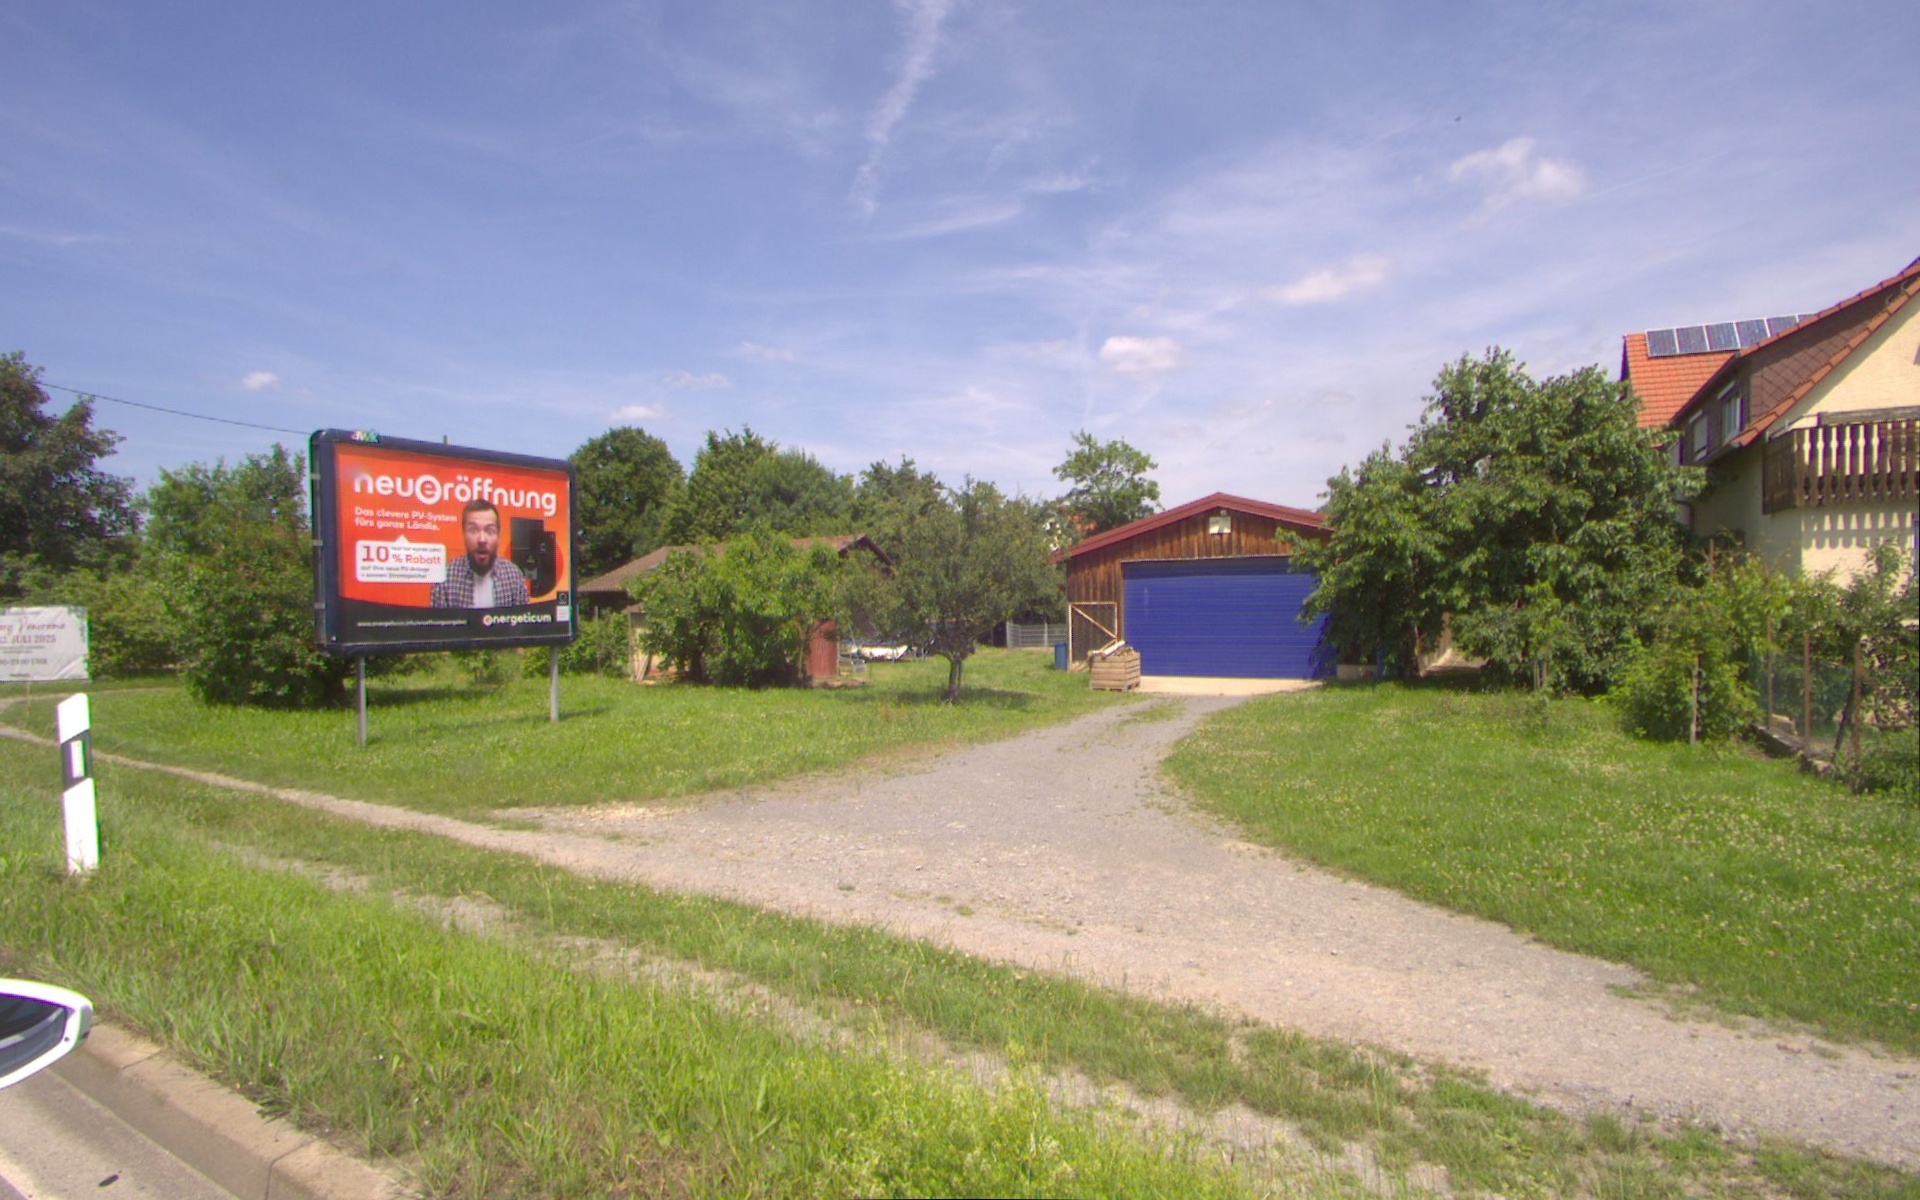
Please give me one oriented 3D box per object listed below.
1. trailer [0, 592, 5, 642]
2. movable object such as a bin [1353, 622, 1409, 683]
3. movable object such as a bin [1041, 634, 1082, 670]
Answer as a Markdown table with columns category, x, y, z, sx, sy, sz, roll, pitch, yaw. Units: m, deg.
| category | x | y | z | sx | sy | sz | roll | pitch | yaw |
| --- | --- | --- | --- | --- | --- | --- | --- | --- | --- |
| trailer | -88.977 | 1.492 | 87.989 | 5.132 | 4.688 | 15.783 | 1 | -1 | -36 |
| movable object such as a bin | 10.229 | 1.254 | 24.306 | 1.049 | 1.415 | 1.271 | 0 | -1 | 33 |
| movable object such as a bin | 3.092 | 1.575 | 30.435 | 1.044 | 1.046 | 1.040 | 0 | -1 | 17 |
